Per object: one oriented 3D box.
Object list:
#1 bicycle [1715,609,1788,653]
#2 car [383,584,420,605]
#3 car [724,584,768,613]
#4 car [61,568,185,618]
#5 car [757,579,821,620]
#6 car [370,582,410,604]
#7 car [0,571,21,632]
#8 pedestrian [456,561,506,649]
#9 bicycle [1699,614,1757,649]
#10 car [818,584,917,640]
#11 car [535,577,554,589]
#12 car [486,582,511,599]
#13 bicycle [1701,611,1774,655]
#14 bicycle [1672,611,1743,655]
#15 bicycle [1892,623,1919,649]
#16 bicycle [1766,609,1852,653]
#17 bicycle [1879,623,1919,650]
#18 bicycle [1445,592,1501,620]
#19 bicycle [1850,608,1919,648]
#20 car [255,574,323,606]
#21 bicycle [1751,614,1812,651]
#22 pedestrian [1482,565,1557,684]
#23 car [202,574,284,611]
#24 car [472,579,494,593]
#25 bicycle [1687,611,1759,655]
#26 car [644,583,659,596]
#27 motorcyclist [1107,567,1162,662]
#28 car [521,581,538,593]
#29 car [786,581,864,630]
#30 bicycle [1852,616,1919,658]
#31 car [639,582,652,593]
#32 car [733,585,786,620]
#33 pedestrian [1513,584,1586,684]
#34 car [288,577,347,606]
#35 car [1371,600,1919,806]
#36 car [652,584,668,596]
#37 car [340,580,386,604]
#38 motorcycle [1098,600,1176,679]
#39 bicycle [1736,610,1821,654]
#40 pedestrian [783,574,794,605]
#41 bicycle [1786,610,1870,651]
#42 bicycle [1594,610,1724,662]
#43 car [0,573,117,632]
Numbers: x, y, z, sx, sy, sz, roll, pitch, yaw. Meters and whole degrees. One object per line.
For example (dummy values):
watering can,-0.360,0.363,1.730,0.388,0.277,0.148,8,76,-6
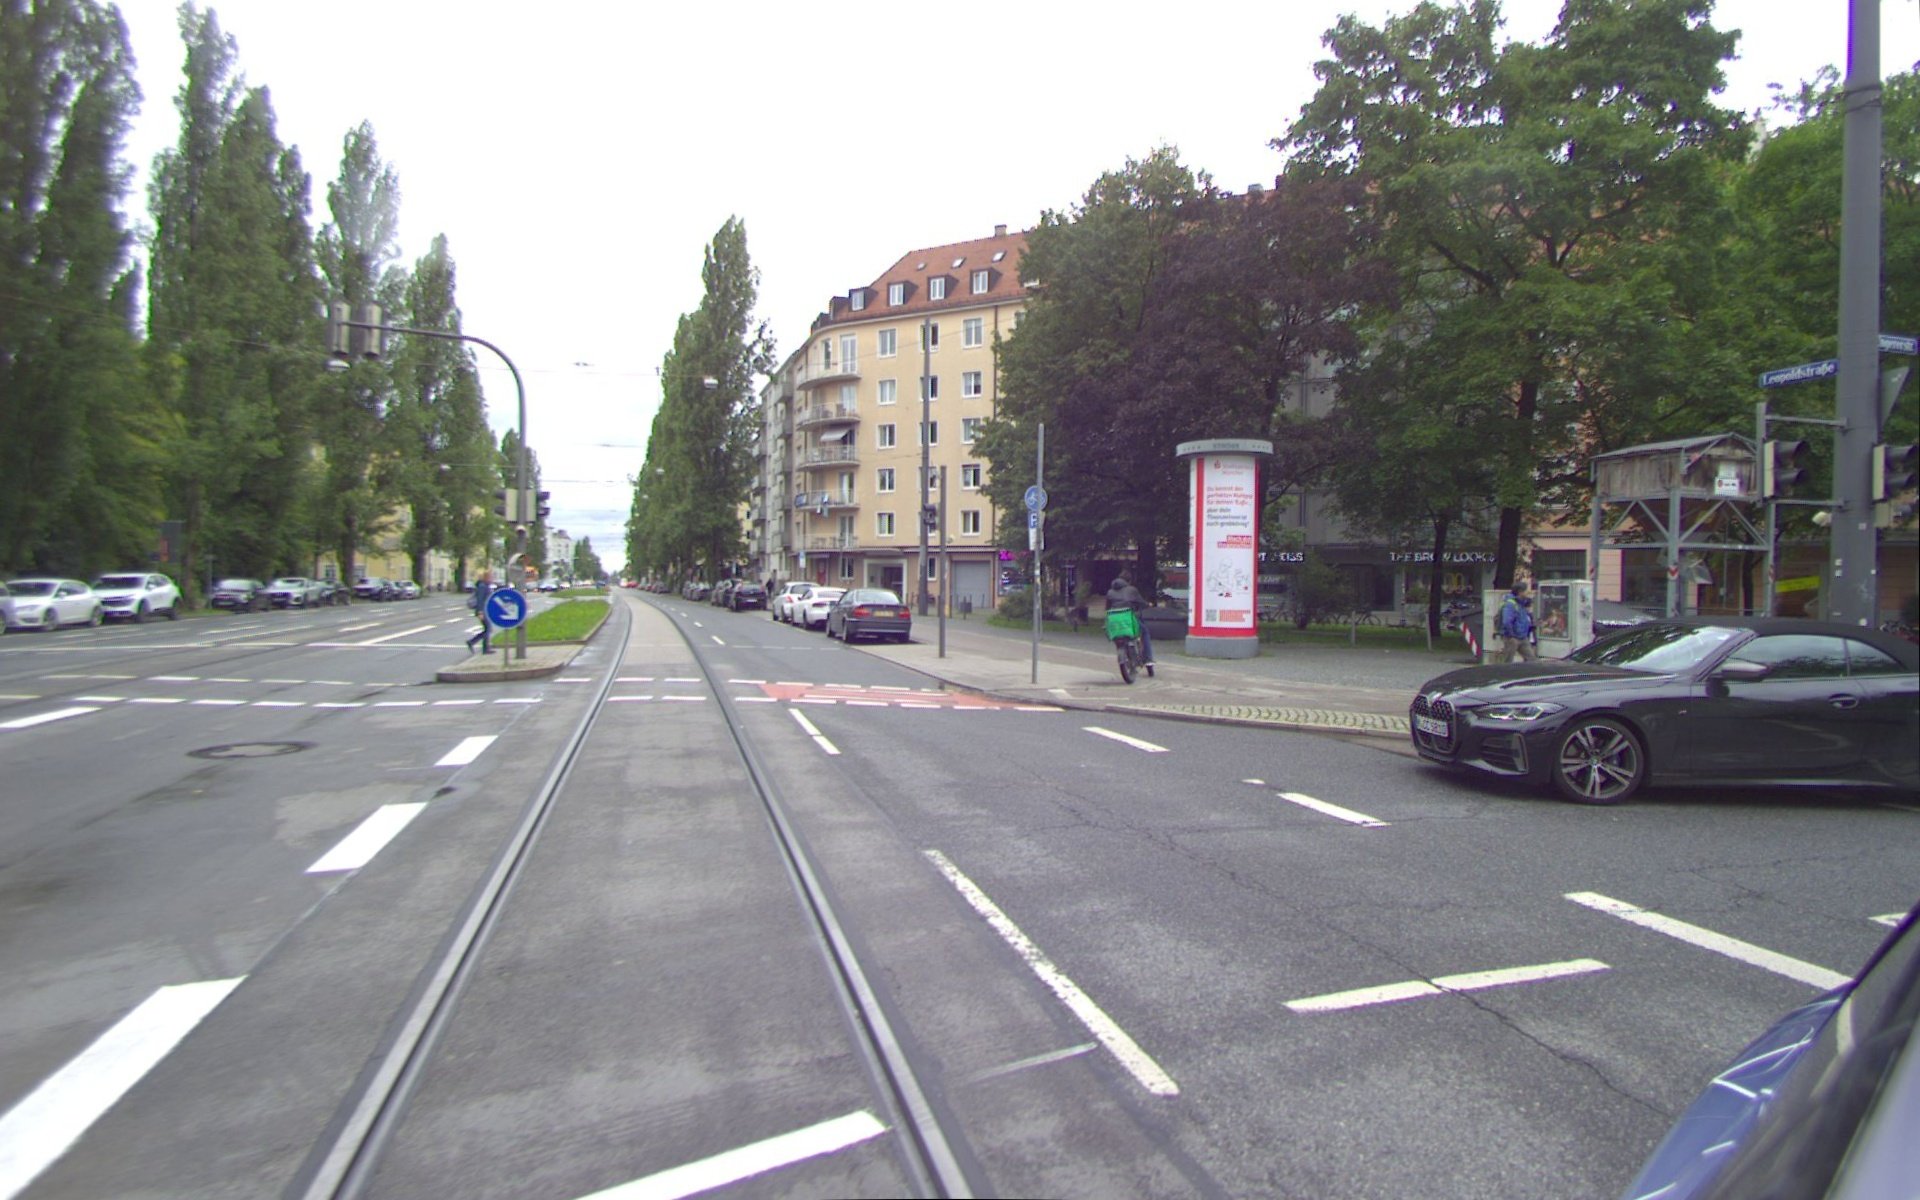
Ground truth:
bicycle,17.013,0.657,21.795,0.307,0.905,1.414,0,-1,-7
car,-42.668,-0.438,77.448,1.749,1.504,4.149,0,1,-18
car,-11.146,-0.097,52.470,1.694,1.424,4.485,1,1,-19
car,-27.245,-0.263,33.112,1.749,1.504,4.149,0,1,-18
car,-6.475,-0.059,37.962,1.694,1.424,4.385,1,1,-19
car,-41.041,-0.493,72.985,1.749,1.504,4.149,0,1,-18
car,-23.879,0.073,23.105,1.749,1.504,4.362,0,1,-15
pedestrian,-9.354,0.103,19.777,0.546,1.684,0.696,-1,-1,26
bicycle,20.190,0.816,26.619,1.383,0.905,0.313,0,-1,-8
car,-2.534,0.263,26.853,1.694,1.332,4.009,0,1,-19
car,-50.171,-2.066,122.262,1.749,1.504,4.149,0,1,-18
car,-44.079,-0.931,96.680,1.749,1.504,4.149,0,1,-18
bicycle,16.673,0.684,21.732,0.307,0.905,1.414,0,-1,-7
bicycle,15.976,0.687,21.659,0.307,0.905,1.414,0,-1,-7
bicycle,27.753,1.040,29.307,0.312,0.733,1.180,0,-1,-6
bicycle,18.657,0.678,22.259,0.307,0.905,1.411,1,0,-40
bicycle,26.932,1.041,28.840,0.312,0.733,1.180,0,-1,-6
bicycle,23.647,0.283,46.696,2.223,1.306,0.503,-1,-1,23
bicycle,21.182,0.630,23.007,1.405,0.905,0.309,-1,-1,39
car,-33.088,-0.525,50.020,1.749,1.504,4.149,0,1,-18
bicycle,20.347,0.804,25.066,1.383,0.905,0.313,0,-1,-8
pedestrian,8.241,0.345,14.928,0.534,1.680,0.723,0,4,-15
car,-30.660,-0.369,43.394,1.749,1.504,4.149,0,1,-18
car,-52.357,-1.551,111.089,1.749,1.504,4.149,0,1,-18
bicycle,16.319,0.686,21.684,0.307,0.905,1.414,0,-1,-7
car,-43.622,-1.444,143.183,1.780,1.739,4.007,0,-1,-21
motorcyclist,2.800,0.231,16.199,0.615,1.461,0.873,-1,-1,28
car,-57.161,-1.692,134.455,1.749,1.504,4.149,0,1,-18
car,-4.462,0.134,32.960,1.694,1.424,4.385,1,1,-19
bicycle,20.825,0.816,22.551,1.405,0.905,0.309,-1,-1,39
car,-53.647,-2.075,172.710,1.958,1.728,4.007,0,-1,-21
car,-8.770,0.075,44.012,1.694,1.424,4.385,1,1,-19
pedestrian,8.788,0.492,15.105,0.534,1.421,0.723,0,2,-15
car,-34.995,-0.476,55.231,1.749,1.504,4.149,0,1,-18
car,6.024,0.753,8.122,4.705,1.407,1.730,1,1,-2
car,-39.493,-1.308,133.114,1.780,1.488,4.007,0,-1,-21
car,-39.016,-0.523,66.225,1.749,1.504,4.149,0,1,-18
motorcycle,2.881,0.603,16.333,0.625,1.184,2.008,-1,-1,29
bicycle,17.666,0.680,21.868,0.307,0.905,1.414,0,-1,-28
pedestrian,-11.337,-0.708,66.903,0.535,2.039,0.632,0,-1,-24
bicycle,19.411,0.677,22.654,1.405,0.905,0.309,-1,-1,39
bicycle,14.704,0.730,21.378,0.617,1.029,2.243,0,-1,-25
car,-25.651,0.018,28.178,1.749,1.504,4.269,0,1,-15
